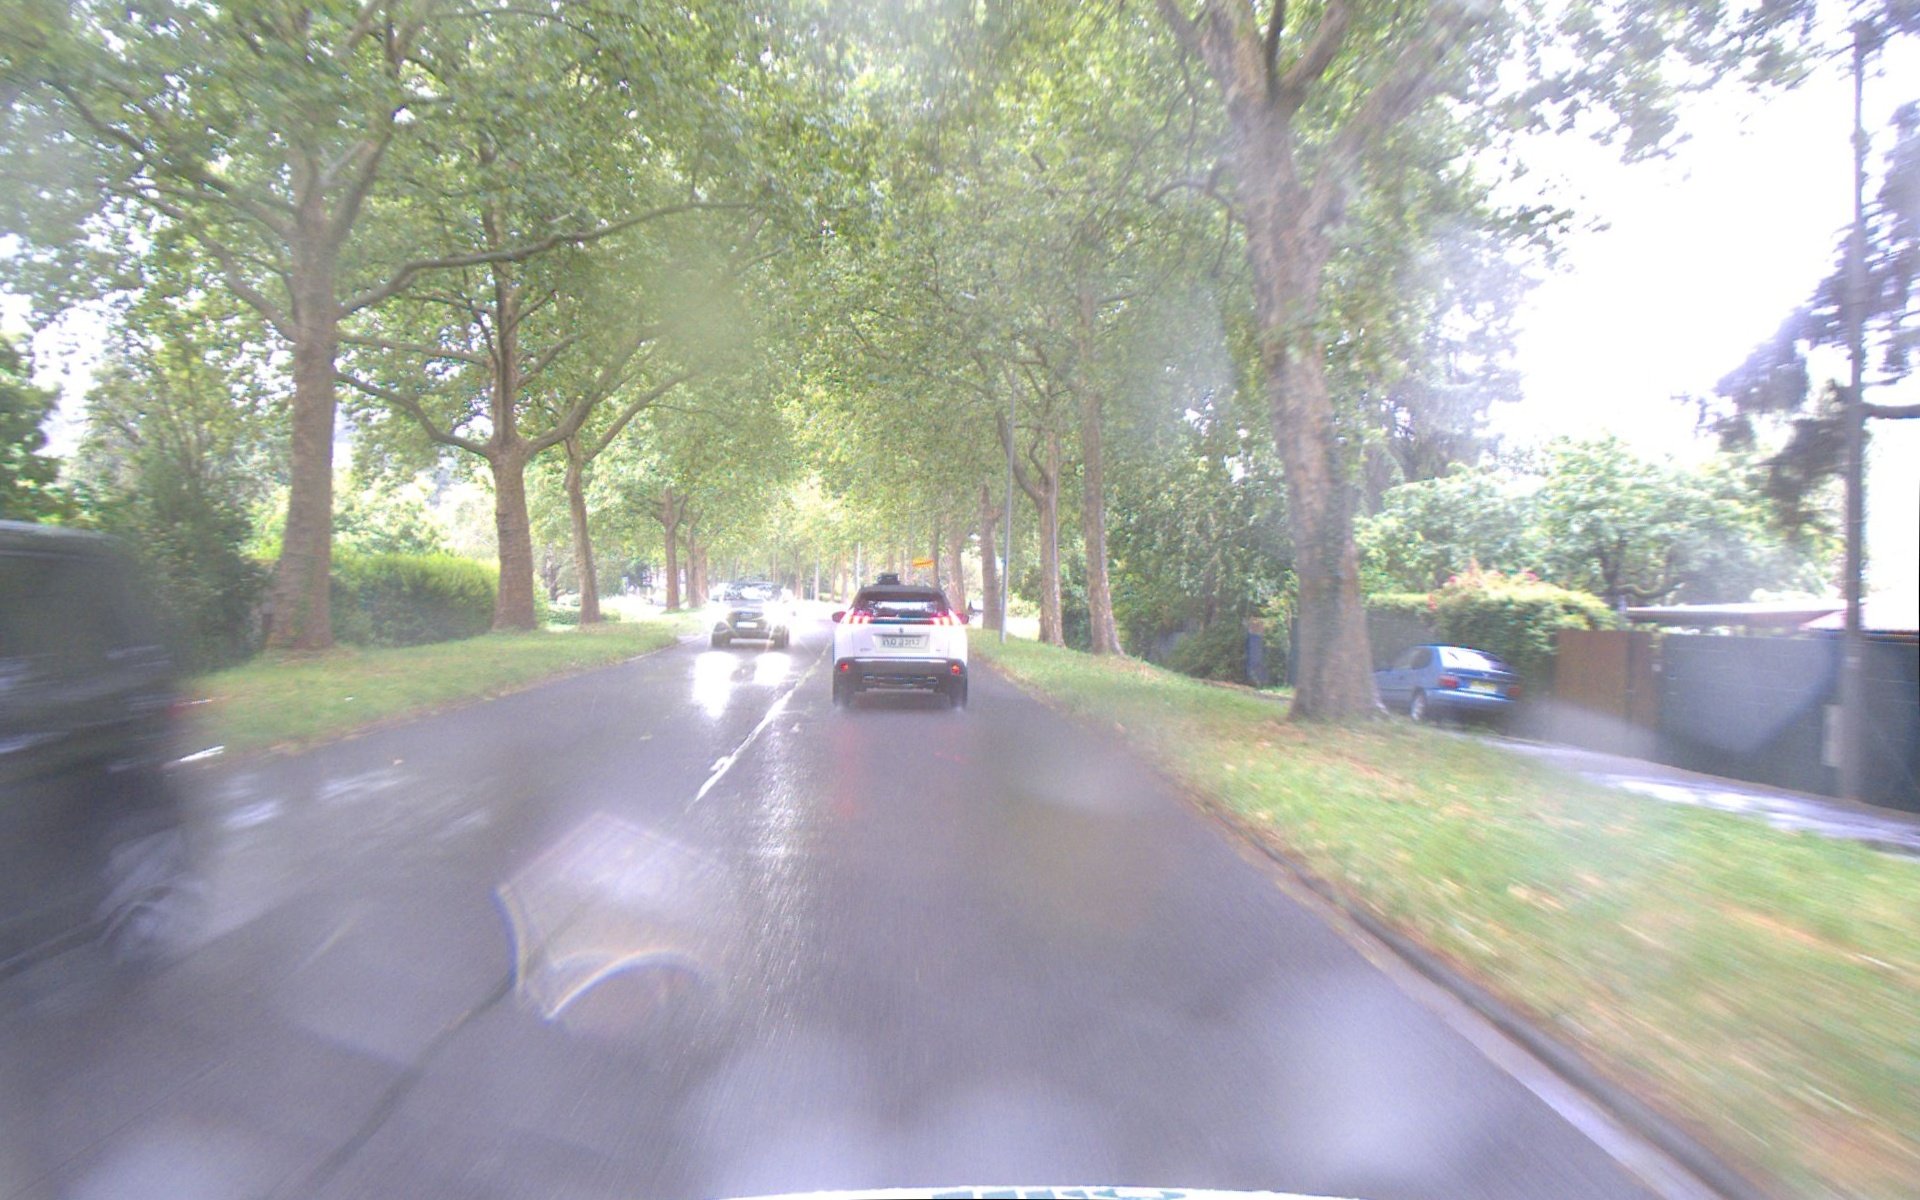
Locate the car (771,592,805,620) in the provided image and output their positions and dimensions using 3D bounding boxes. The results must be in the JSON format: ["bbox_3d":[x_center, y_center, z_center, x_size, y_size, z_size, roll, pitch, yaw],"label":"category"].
[{"bbox_3d":[-9.763,0.328,93.704,1.810,1.528,3.994,2,0,-7],"label":"car"}]

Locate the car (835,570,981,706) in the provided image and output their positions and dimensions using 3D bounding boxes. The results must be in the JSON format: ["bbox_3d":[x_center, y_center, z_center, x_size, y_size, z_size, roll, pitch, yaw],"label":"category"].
[{"bbox_3d":[-0.648,0.460,22.359,1.757,1.606,3.844,2,0,0],"label":"car"}]

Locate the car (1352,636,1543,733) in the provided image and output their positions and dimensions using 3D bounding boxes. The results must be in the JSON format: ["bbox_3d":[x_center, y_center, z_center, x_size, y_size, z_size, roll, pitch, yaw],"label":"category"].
[{"bbox_3d":[8.603,1.449,29.541,1.762,1.348,3.994,6,-1,-6],"label":"car"}]

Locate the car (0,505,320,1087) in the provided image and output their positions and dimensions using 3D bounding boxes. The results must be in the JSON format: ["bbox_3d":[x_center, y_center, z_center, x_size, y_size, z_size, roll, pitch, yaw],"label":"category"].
[{"bbox_3d":[-3.642,0.537,4.659,1.781,1.683,4.773,2,0,0],"label":"car"}]

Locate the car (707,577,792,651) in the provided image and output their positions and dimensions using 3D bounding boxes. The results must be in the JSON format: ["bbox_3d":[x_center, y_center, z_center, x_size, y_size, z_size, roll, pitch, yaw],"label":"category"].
[{"bbox_3d":[-5.421,0.348,43.035,1.772,1.758,4.452,2,0,-3],"label":"car"}]
